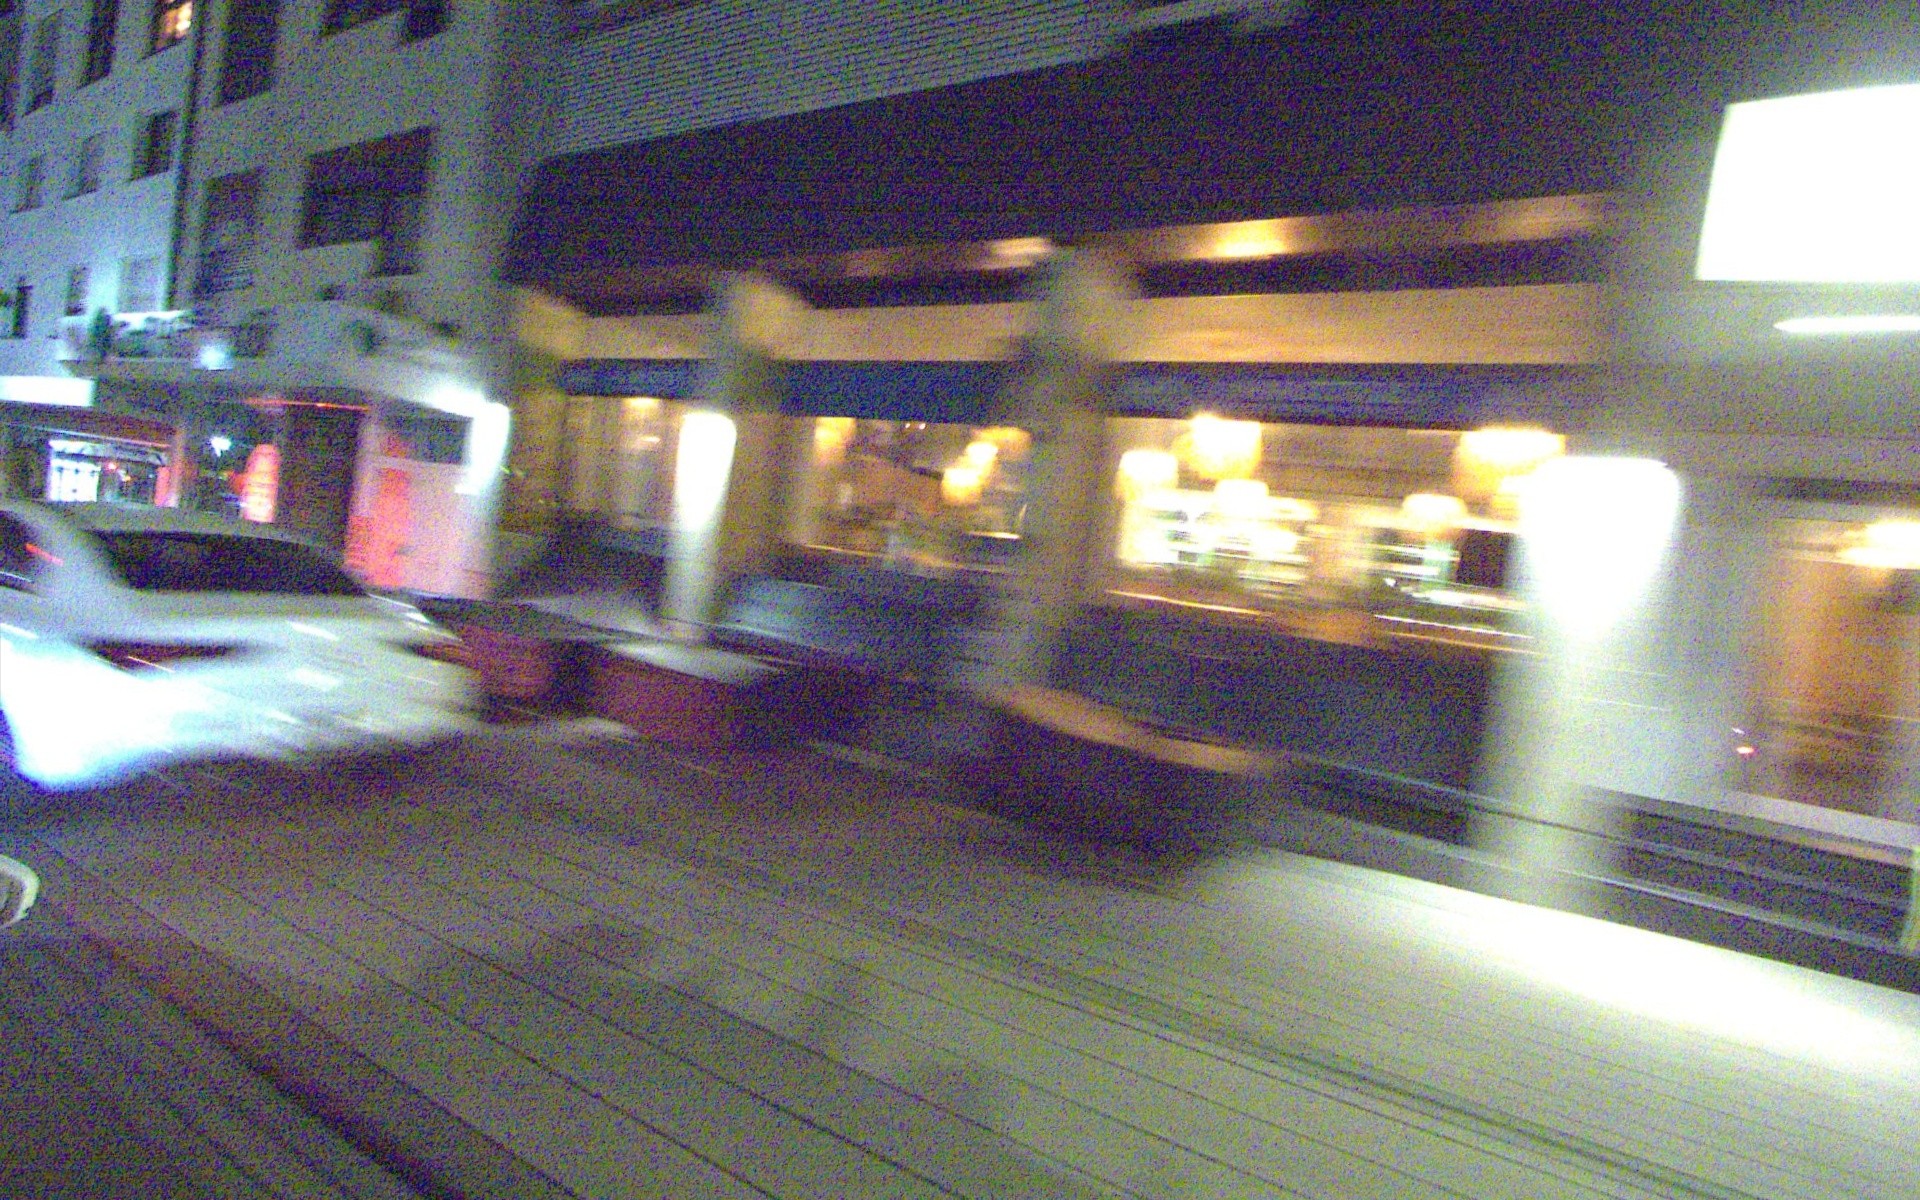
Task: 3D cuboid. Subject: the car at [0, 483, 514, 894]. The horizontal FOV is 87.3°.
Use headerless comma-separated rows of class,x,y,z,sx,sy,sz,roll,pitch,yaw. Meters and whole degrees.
car,-4.766,0.151,5.614,4.517,1.461,1.858,7,2,31
